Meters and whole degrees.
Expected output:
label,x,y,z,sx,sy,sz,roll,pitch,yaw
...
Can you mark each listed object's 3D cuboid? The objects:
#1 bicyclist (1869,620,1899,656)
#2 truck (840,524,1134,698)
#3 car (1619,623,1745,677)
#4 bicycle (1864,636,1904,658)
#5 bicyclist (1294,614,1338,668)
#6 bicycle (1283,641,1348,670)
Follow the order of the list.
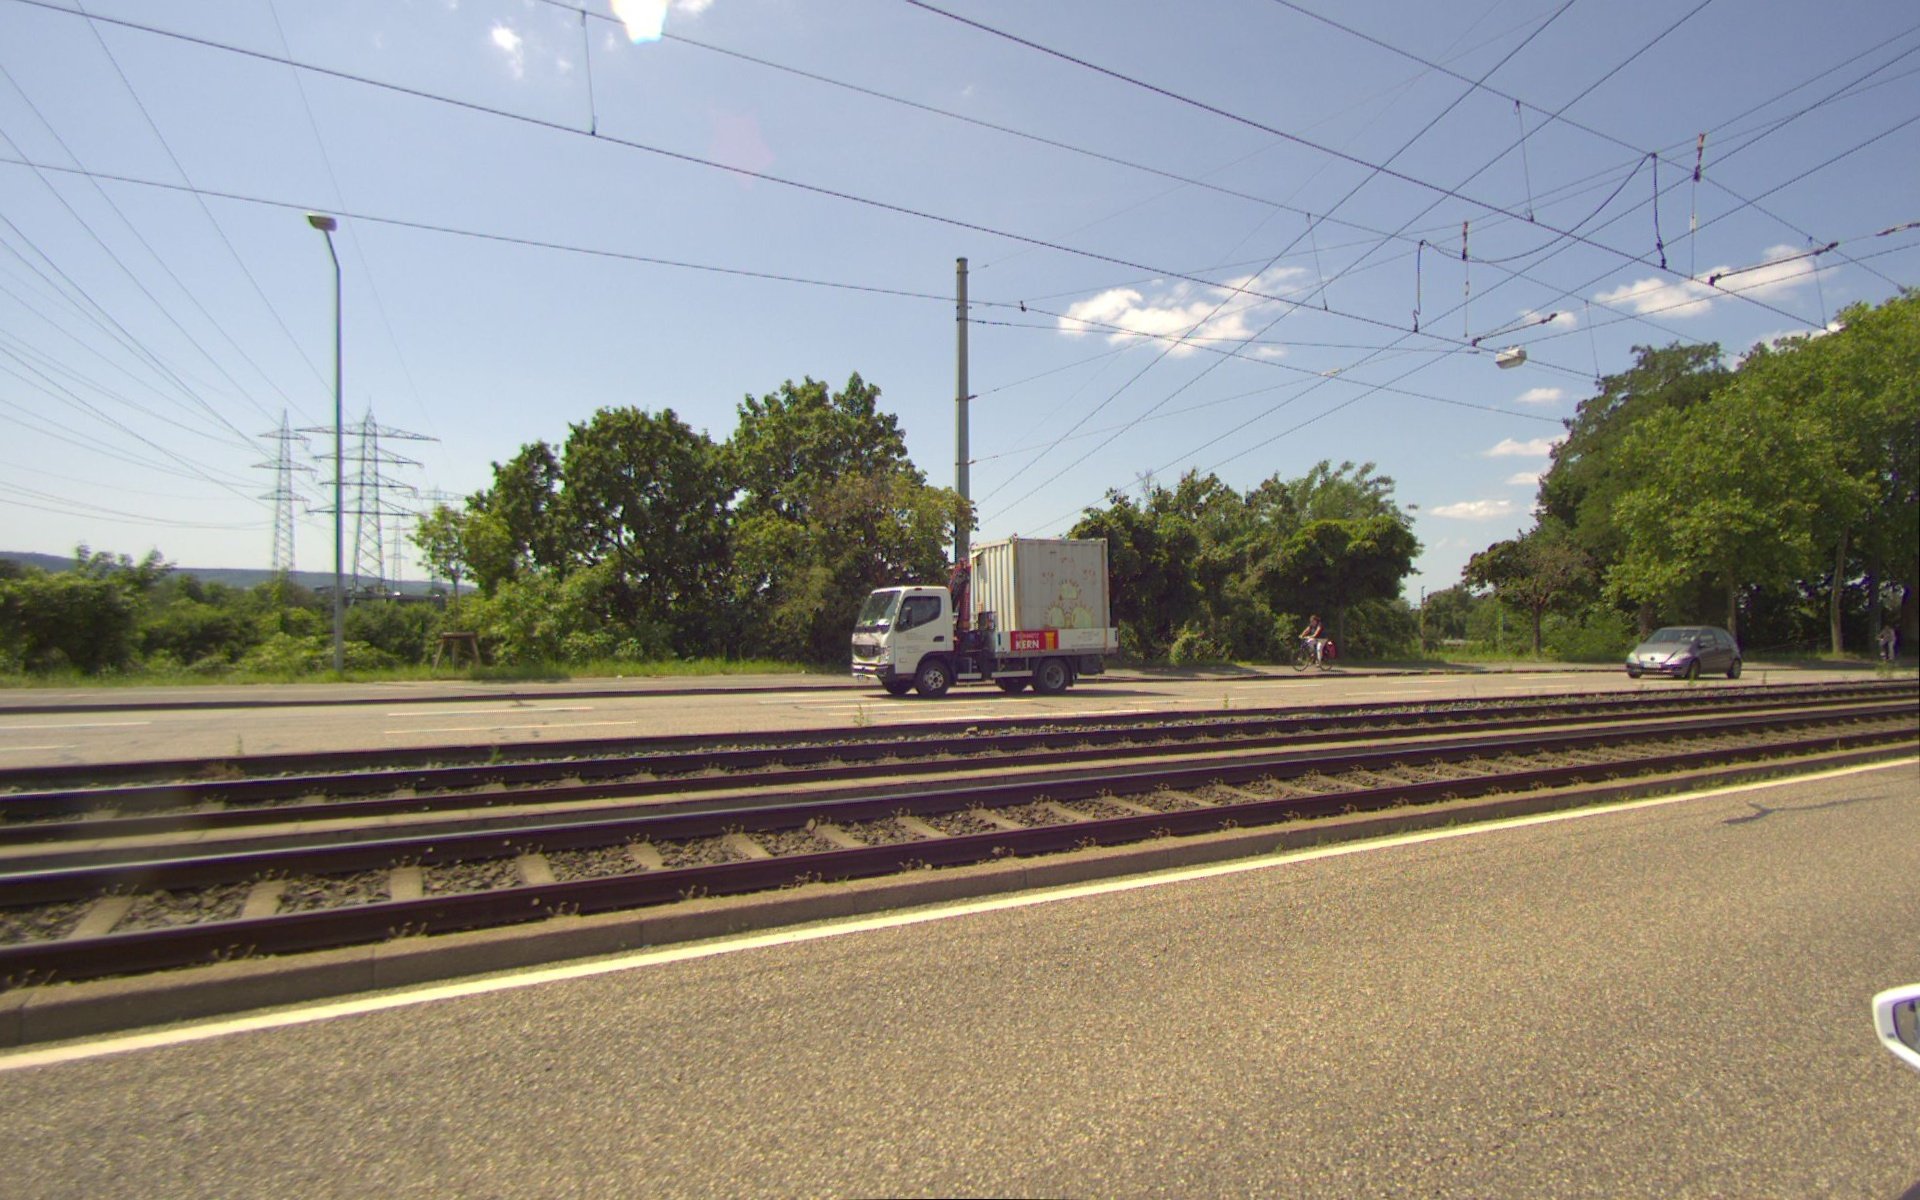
label,x,y,z,sx,sy,sz,roll,pitch,yaw
bicyclist,42.937,1.765,46.659,1.047,1.639,0.621,1,1,-24
truck,0.637,0.275,21.393,5.967,3.279,2.240,1,-1,-29
car,22.055,1.508,30.666,3.912,1.555,1.743,1,-2,-31
bicycle,42.971,2.188,46.711,2.026,0.993,0.621,1,1,-24
bicyclist,11.194,1.270,31.559,1.140,1.642,0.648,1,1,-26
bicycle,11.177,1.732,31.563,2.092,0.871,0.648,1,1,-26
